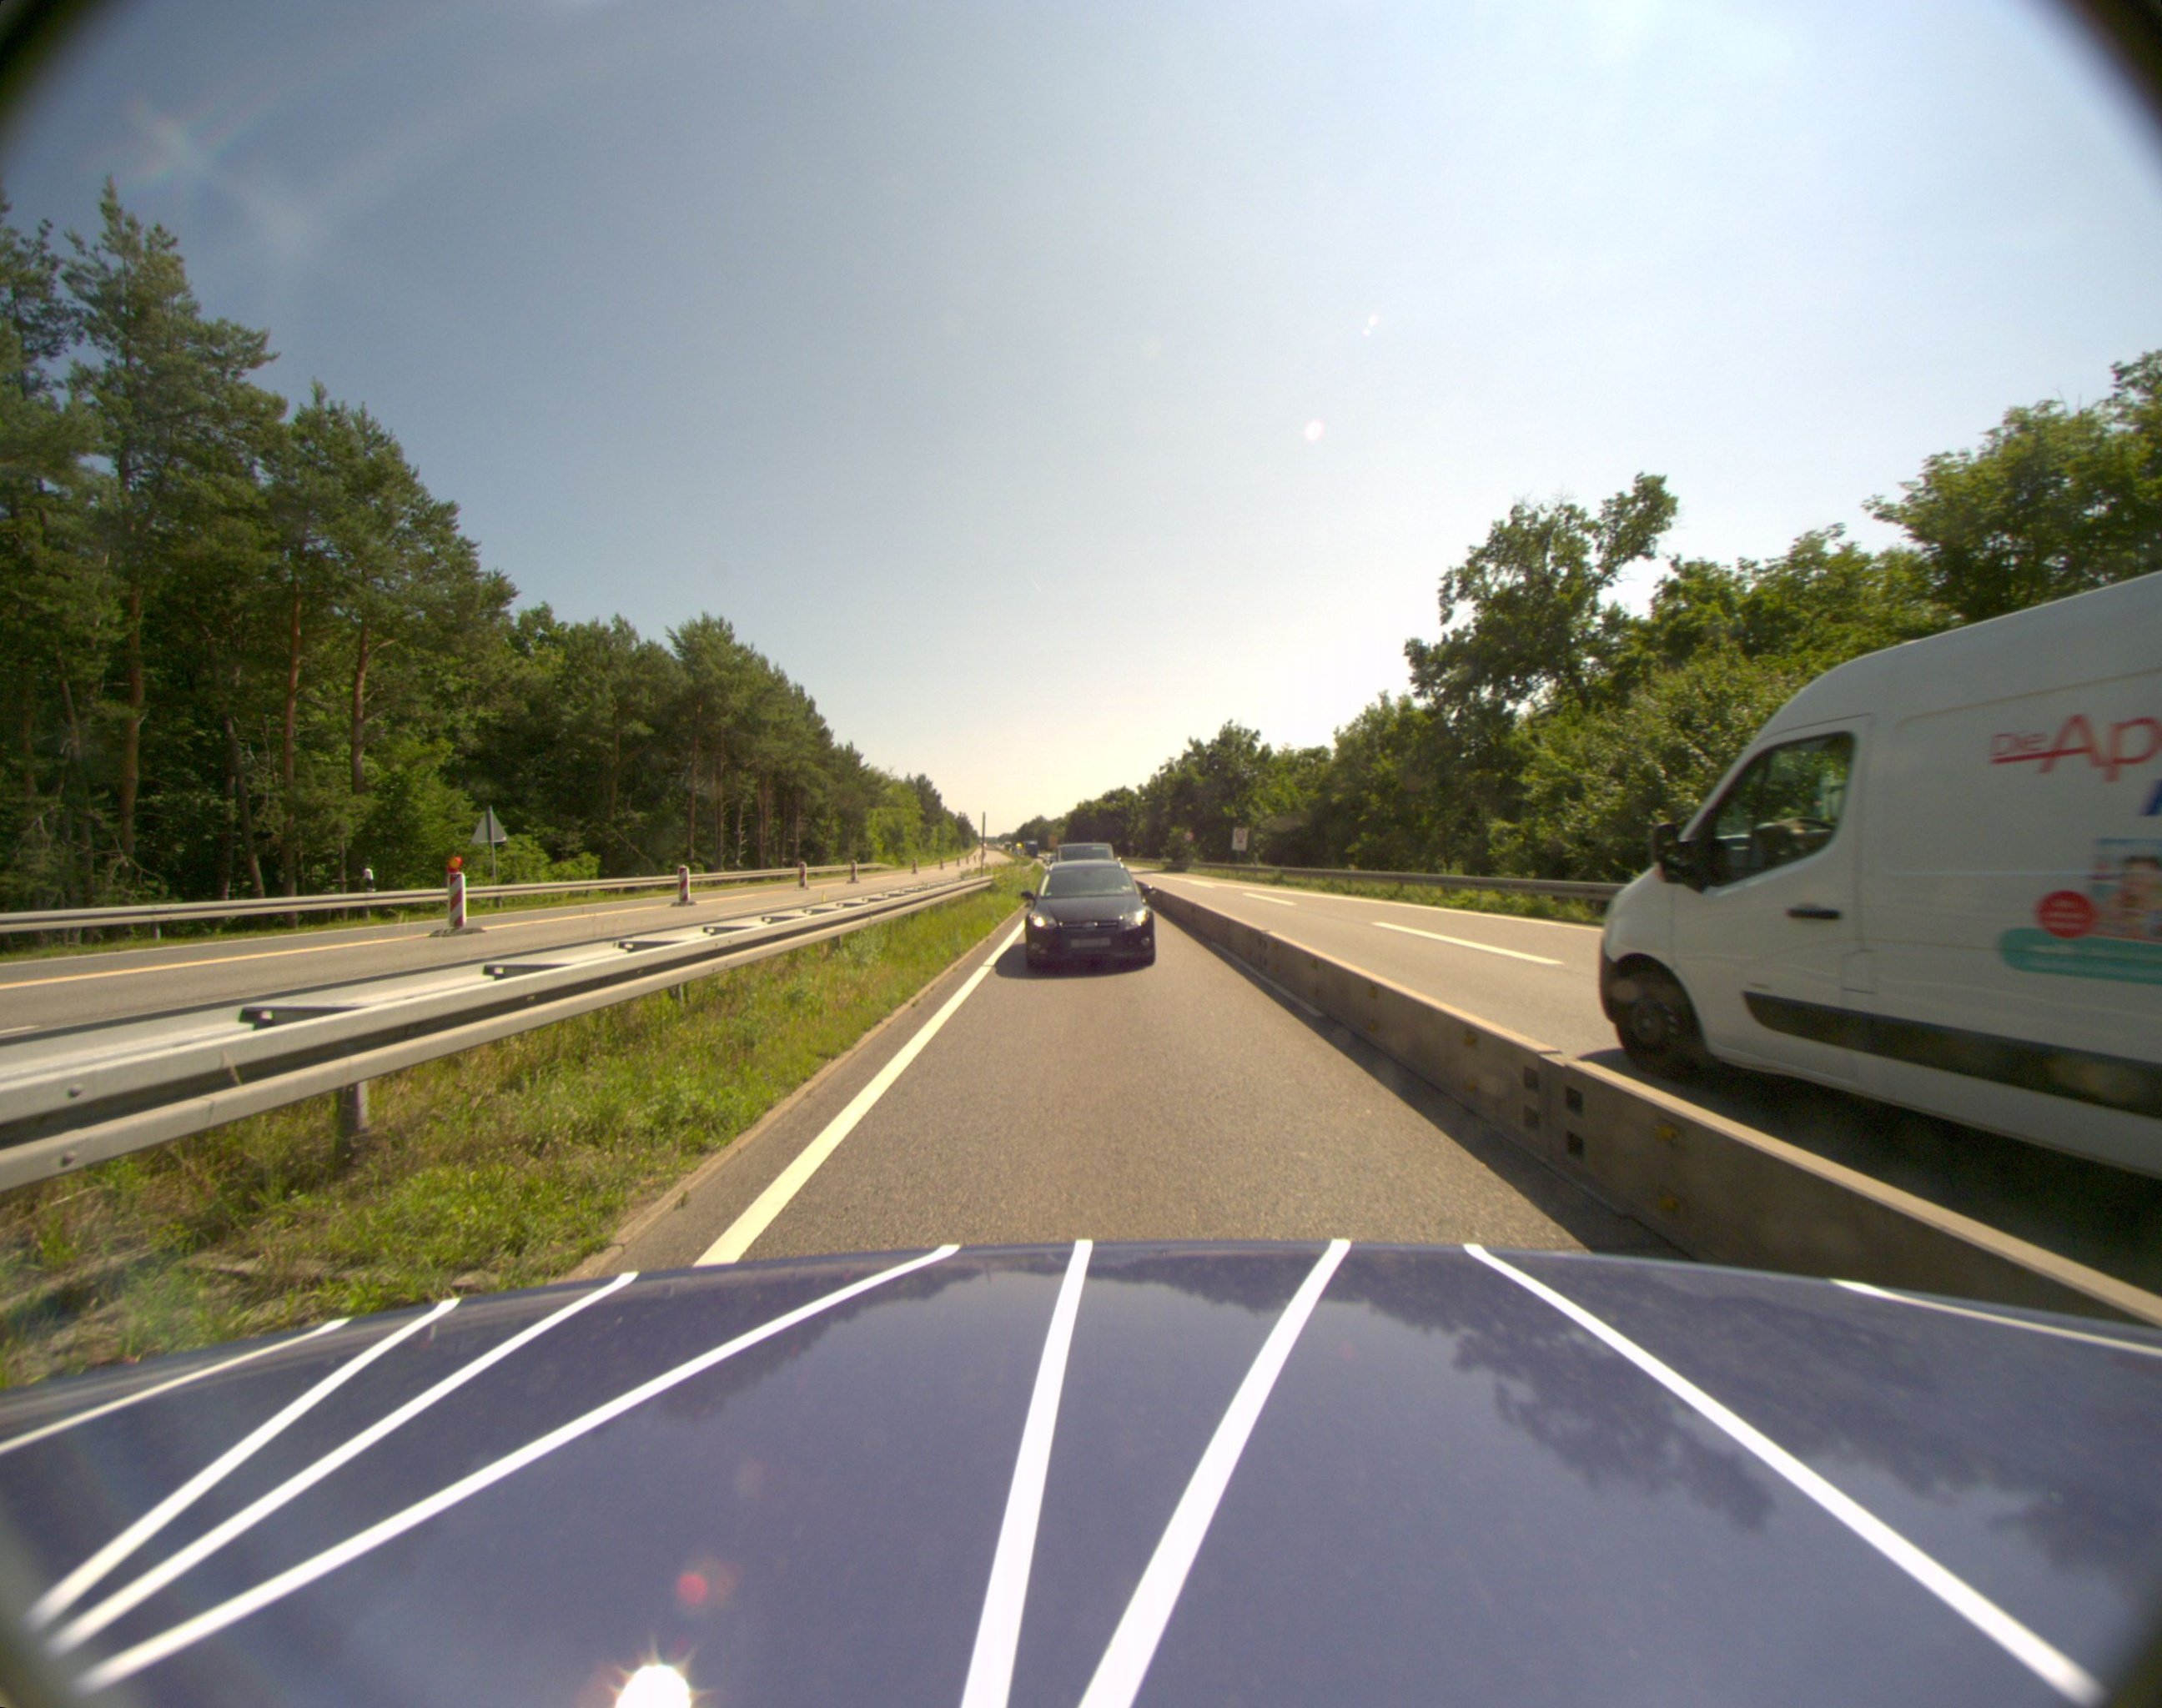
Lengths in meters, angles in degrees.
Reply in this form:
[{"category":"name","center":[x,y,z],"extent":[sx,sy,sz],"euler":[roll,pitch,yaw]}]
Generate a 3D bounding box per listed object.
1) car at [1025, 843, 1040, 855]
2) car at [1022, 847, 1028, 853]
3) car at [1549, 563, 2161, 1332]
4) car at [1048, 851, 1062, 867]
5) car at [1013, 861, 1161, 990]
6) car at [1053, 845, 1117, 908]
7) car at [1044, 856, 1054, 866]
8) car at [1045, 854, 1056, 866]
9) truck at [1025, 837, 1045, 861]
[{"category":"car","center":[-7.175,-0.708,111.716],"extent":[1.999,1.773,3.999],"euler":[-1,0,-1]},{"category":"car","center":[-16.619,-1.205,226.043],"extent":[1.527,1.647,3.980],"euler":[-1,0,-1]},{"category":"car","center":[4.496,0.281,2.819],"extent":[2.067,2.471,5.560],"euler":[-2,0,0]},{"category":"car","center":[-2.850,0.533,84.808],"extent":[1.527,1.647,3.980],"euler":[-1,0,-1]},{"category":"car","center":[0.022,0.927,12.079],"extent":[1.847,1.537,4.934],"euler":[-1,0,-1]},{"category":"car","center":[0.040,0.693,25.876],"extent":[1.960,1.901,4.934],"euler":[-1,0,-2]},{"category":"car","center":[-5.177,1.153,123.227],"extent":[1.527,1.647,3.753],"euler":[0,0,-1]},{"category":"car","center":[-4.186,0.779,104.733],"extent":[1.527,1.647,3.980],"euler":[-1,0,-1]},{"category":"truck","center":[-10.992,-1.164,180.271],"extent":[3.831,5.266,11.239],"euler":[-1,0,-7]}]
